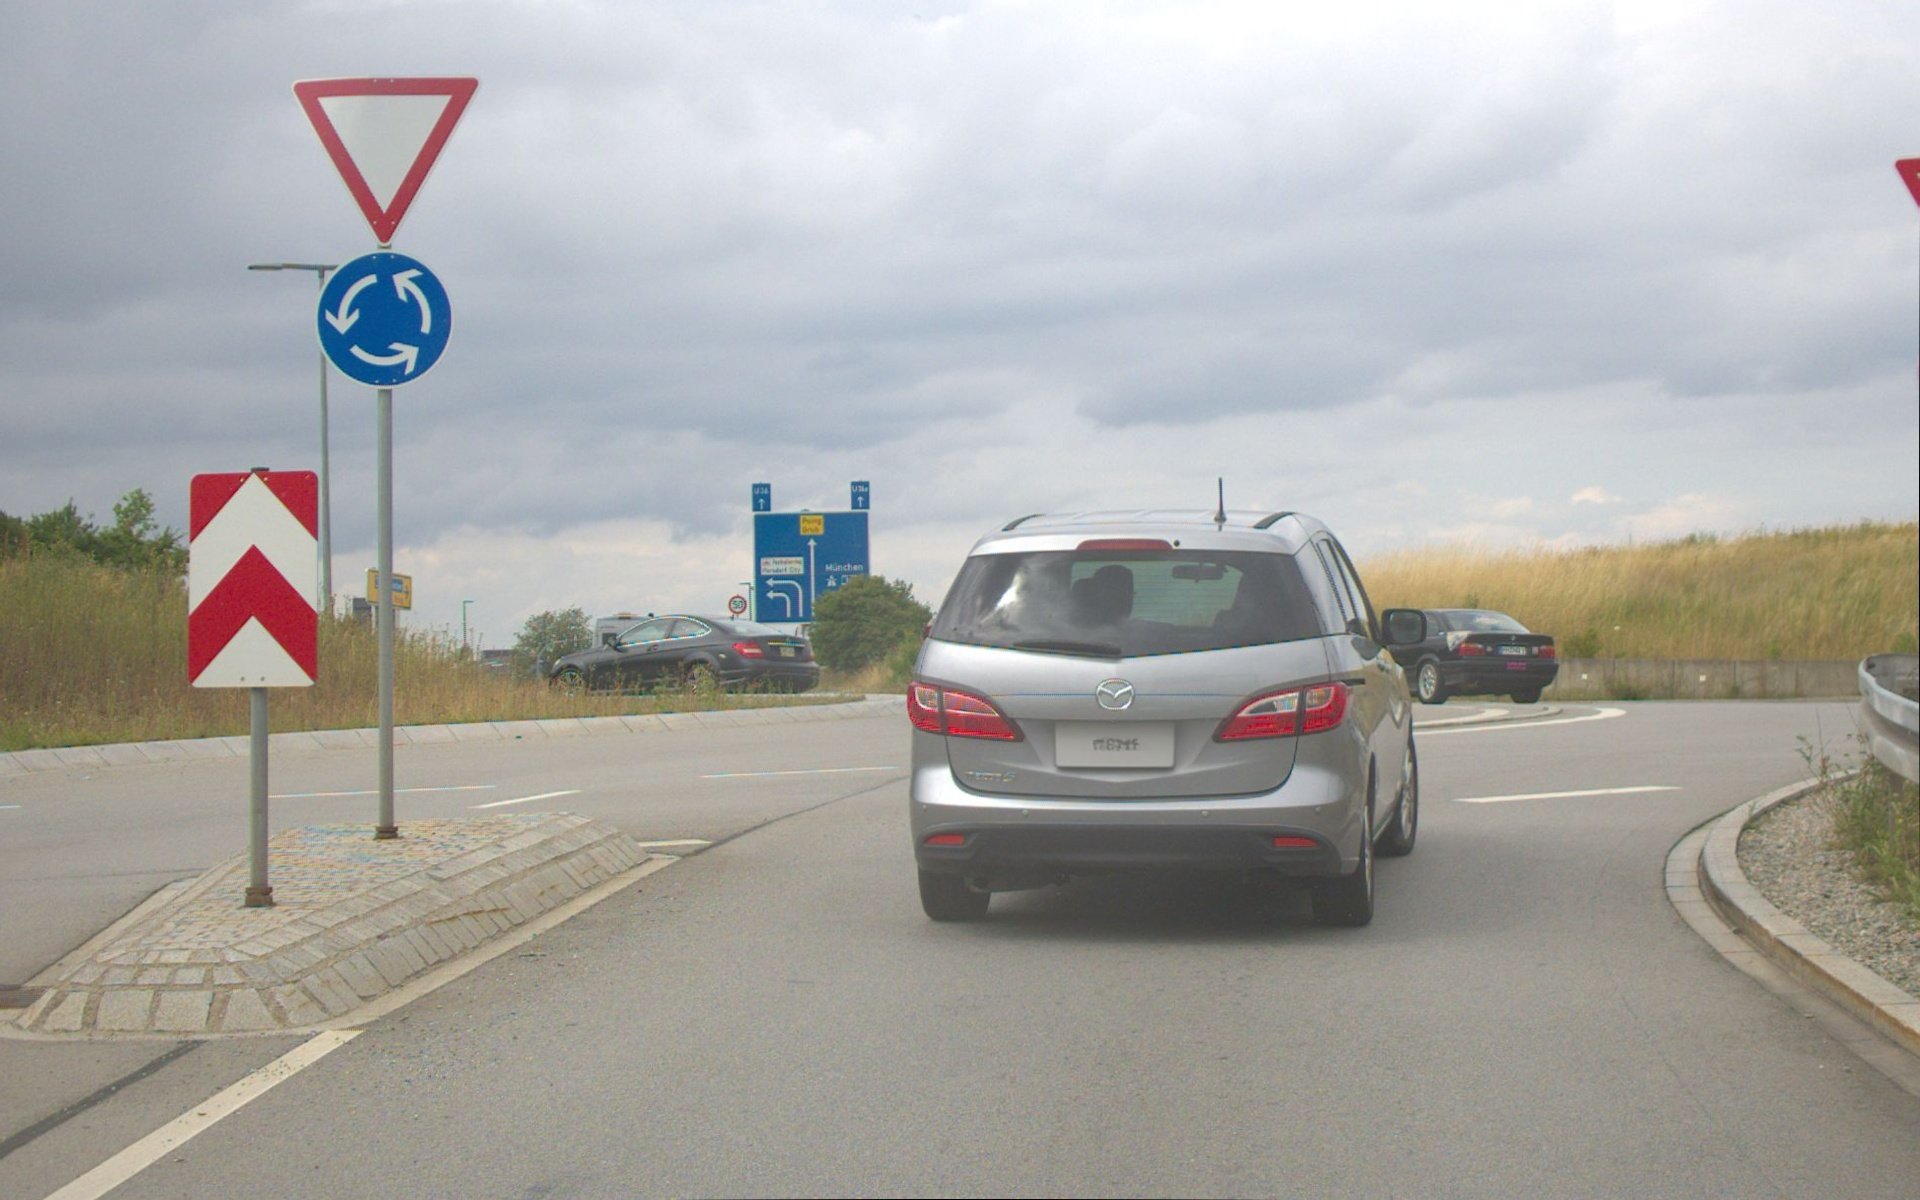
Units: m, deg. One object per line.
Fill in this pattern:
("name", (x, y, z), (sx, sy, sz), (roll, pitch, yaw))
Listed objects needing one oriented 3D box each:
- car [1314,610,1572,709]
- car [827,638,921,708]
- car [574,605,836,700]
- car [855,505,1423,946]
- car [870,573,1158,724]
("car", (6.736, 0.821, 48.316), (1.598, 1.284, 4.046), (-2, 0, -25))
("car", (-2.075, 1.719, 81.898), (1.598, 1.543, 4.047), (-2, 0, -10))
("car", (-3.865, 0.797, 51.668), (3.997, 1.335, 1.661), (-2, 0, 44))
("car", (0.898, 0.425, 14.332), (1.912, 1.568, 3.999), (-1, 1, 9))
("car", (0.617, 0.458, 34.925), (1.663, 1.373, 3.996), (-2, 0, 20))
